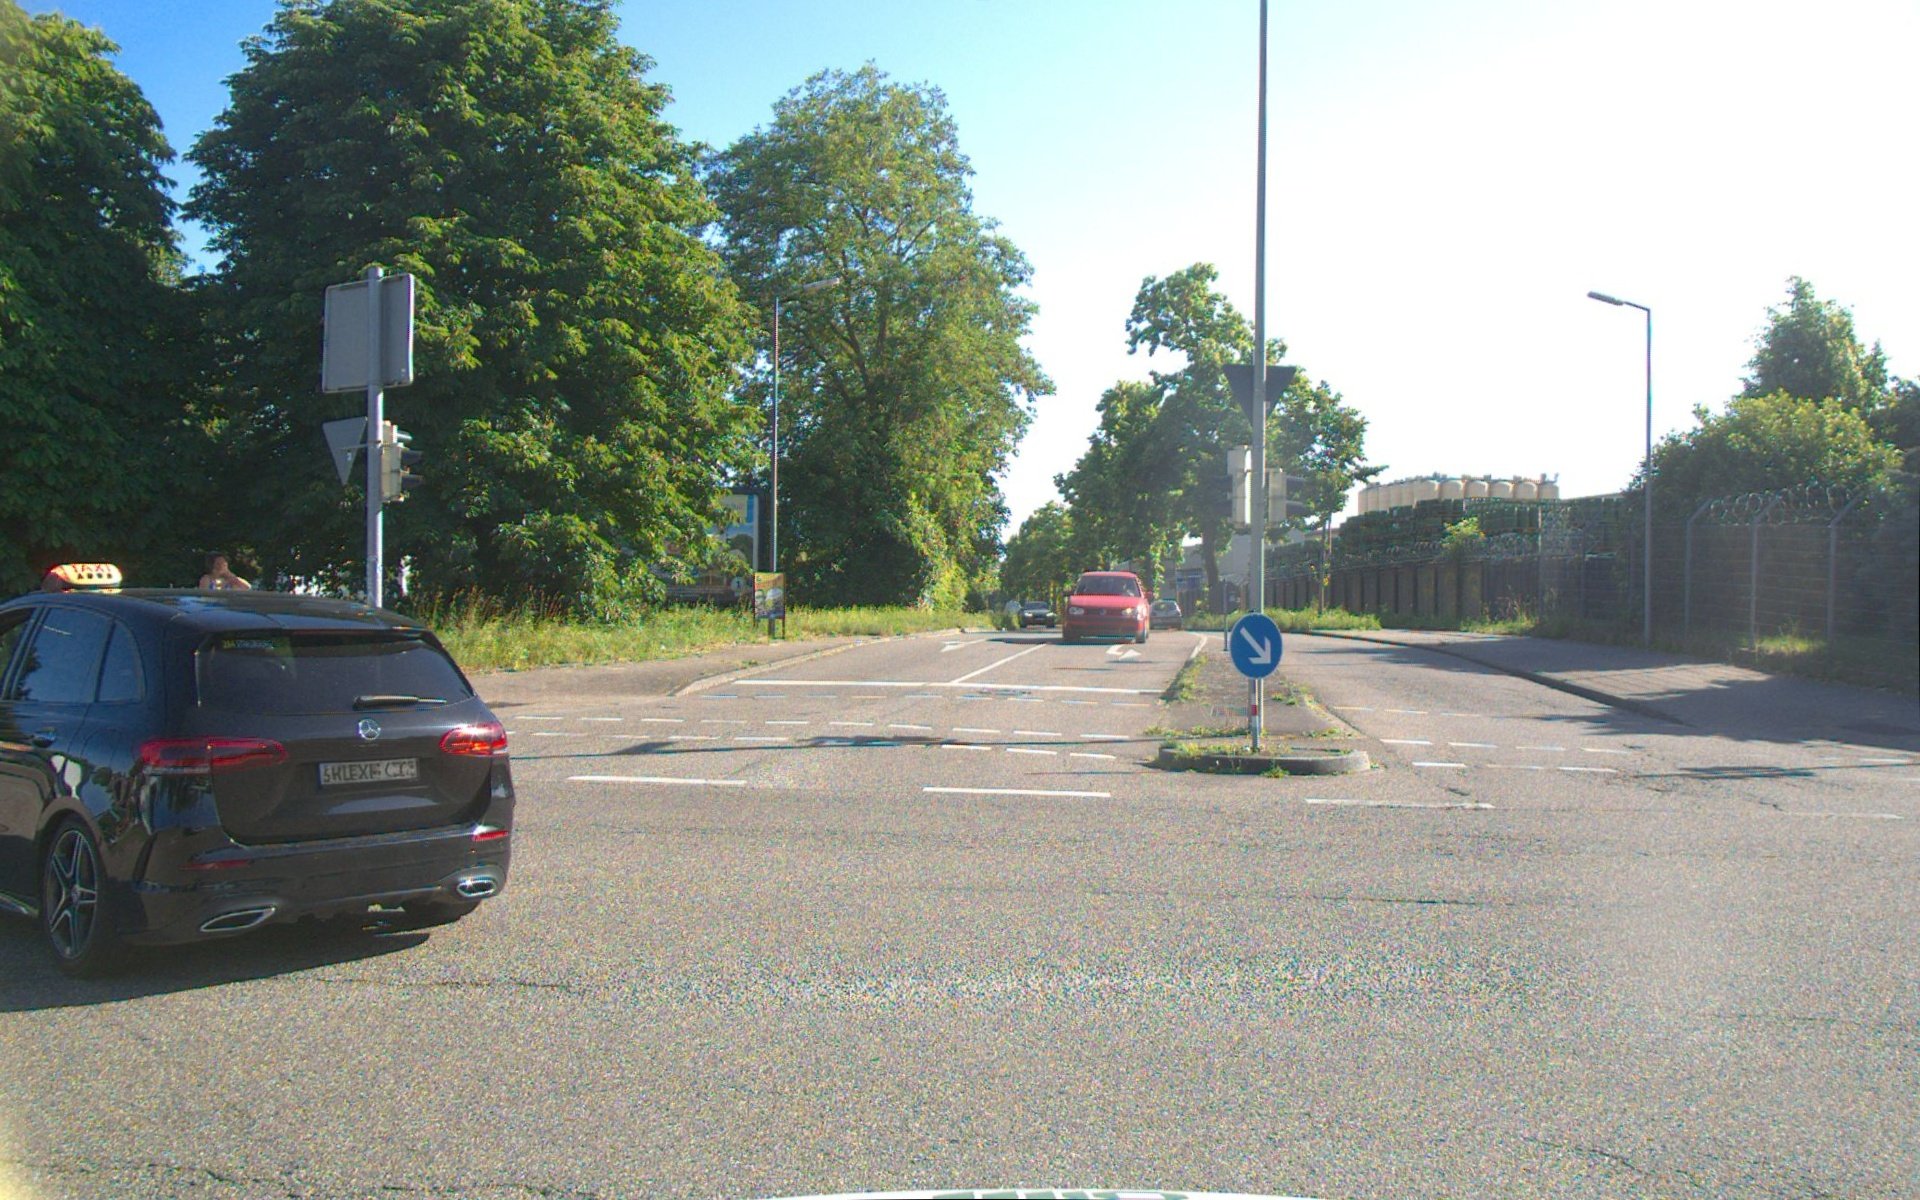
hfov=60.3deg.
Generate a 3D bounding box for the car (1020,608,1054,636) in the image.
[{"bbox_3d":[4.280,1.218,92.849,1.819,1.495,4.139,0,0,1],"label":"car"}]

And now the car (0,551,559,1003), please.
[{"bbox_3d":[-3.795,0.621,7.931,3.919,1.620,1.764,1,0,43],"label":"car"}]

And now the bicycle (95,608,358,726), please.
[{"bbox_3d":[-7.913,0.687,17.807,2.885,1.145,0.902,1,-1,25],"label":"bicycle"}]

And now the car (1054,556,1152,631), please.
[{"bbox_3d":[2.958,-0.119,34.932,1.819,1.495,4.139,0,0,1],"label":"car"}]

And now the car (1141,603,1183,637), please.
[{"bbox_3d":[9.982,0.992,81.860,1.655,1.660,3.130,0,0,-1],"label":"car"}]

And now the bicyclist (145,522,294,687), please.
[{"bbox_3d":[-7.986,0.044,17.855,1.163,1.722,0.892,1,-1,25],"label":"bicyclist"}]
